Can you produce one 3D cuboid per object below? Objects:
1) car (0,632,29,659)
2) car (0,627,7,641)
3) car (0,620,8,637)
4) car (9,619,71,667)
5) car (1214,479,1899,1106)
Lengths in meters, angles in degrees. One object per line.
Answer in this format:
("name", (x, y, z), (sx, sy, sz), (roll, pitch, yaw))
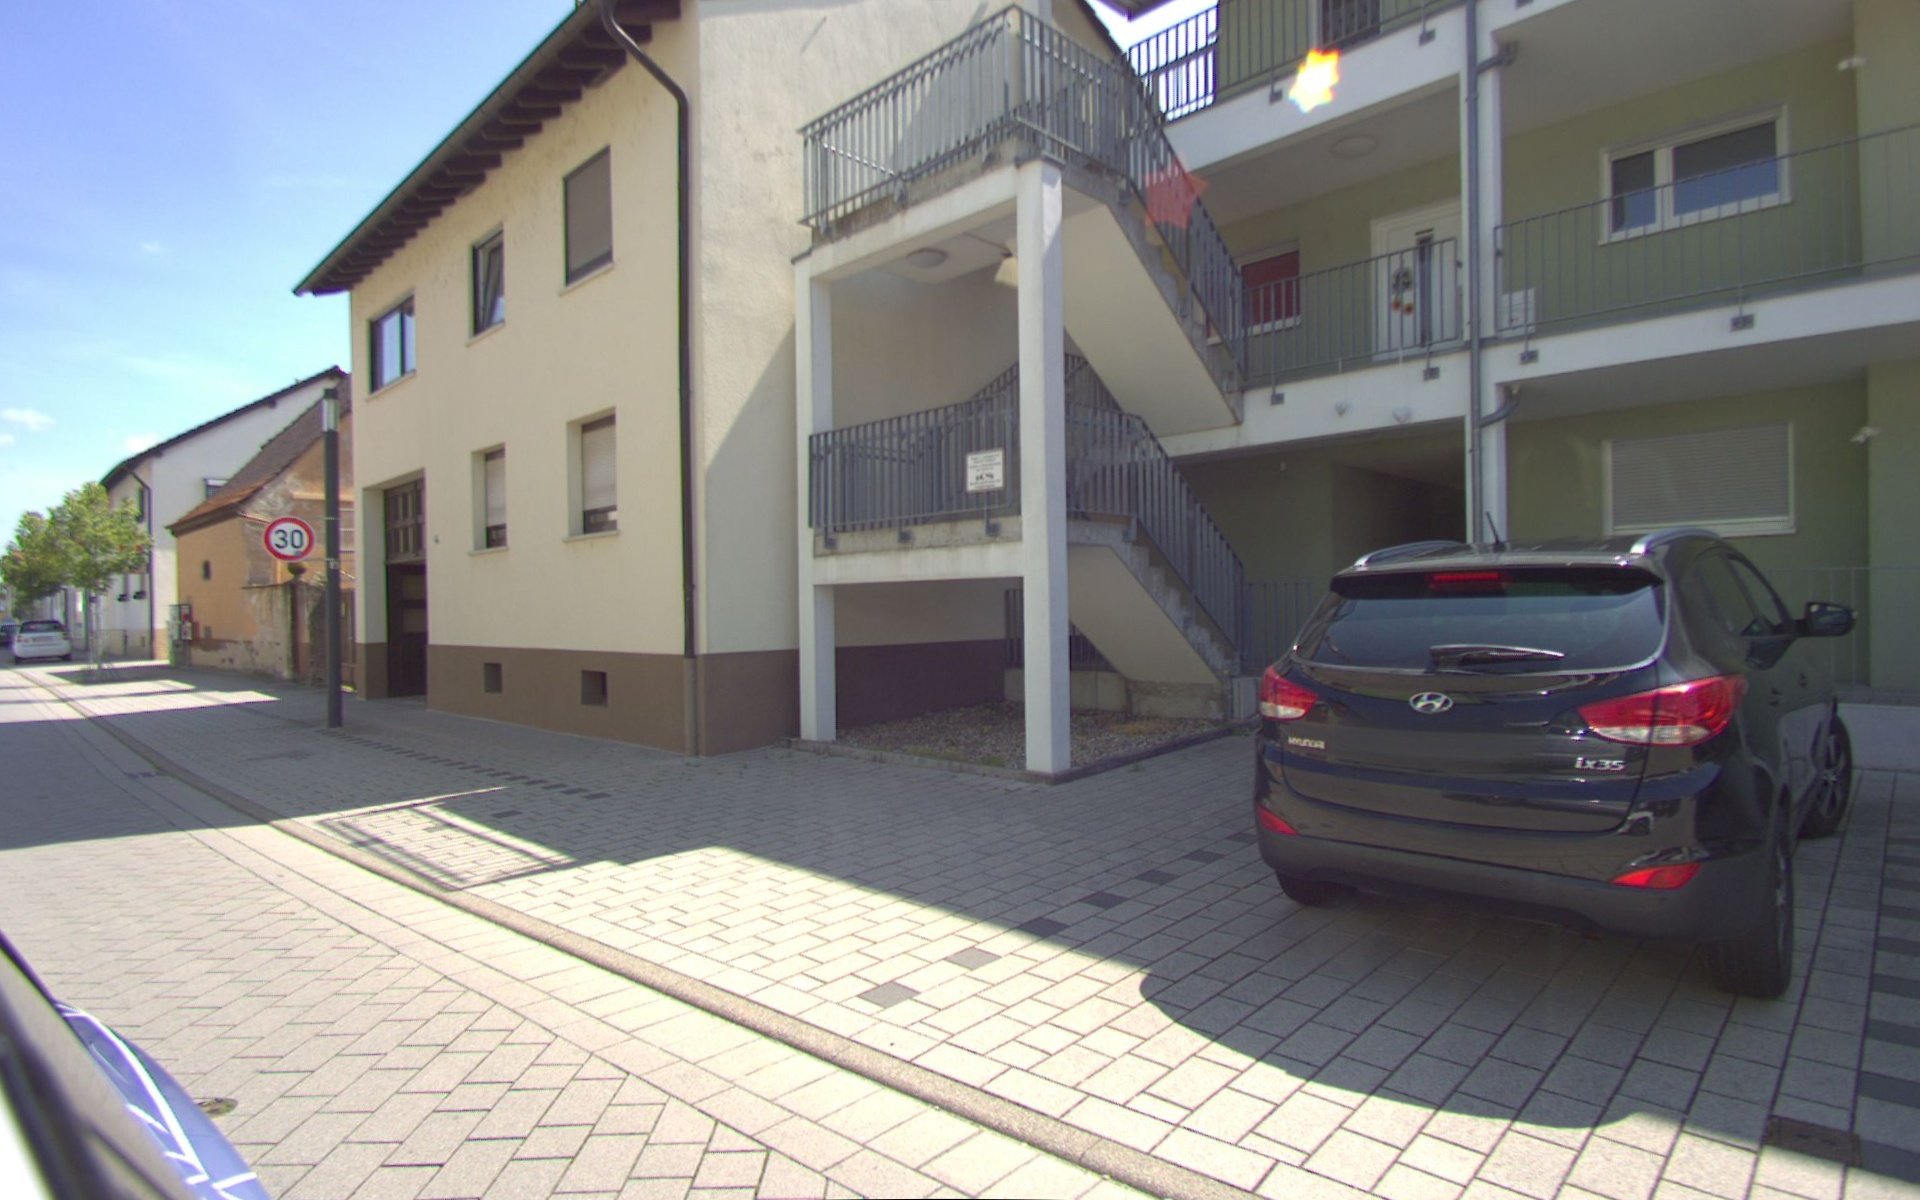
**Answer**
("car", (-60.275, 2.855, 64.054), (3.956, 1.578, 1.728), (-2, -1, 44))
("car", (-114.091, 4.033, 119.672), (4.000, 1.564, 1.829), (-2, -1, 43))
("car", (-99.122, 2.902, 104.045), (1.826, 1.711, 4.003), (0, -1, -44))
("car", (-33.422, 1.511, 36.778), (1.554, 1.573, 2.825), (-4, 2, -43))
("car", (3.121, 0.434, 4.805), (1.785, 1.670, 4.171), (-2, 2, 45))
